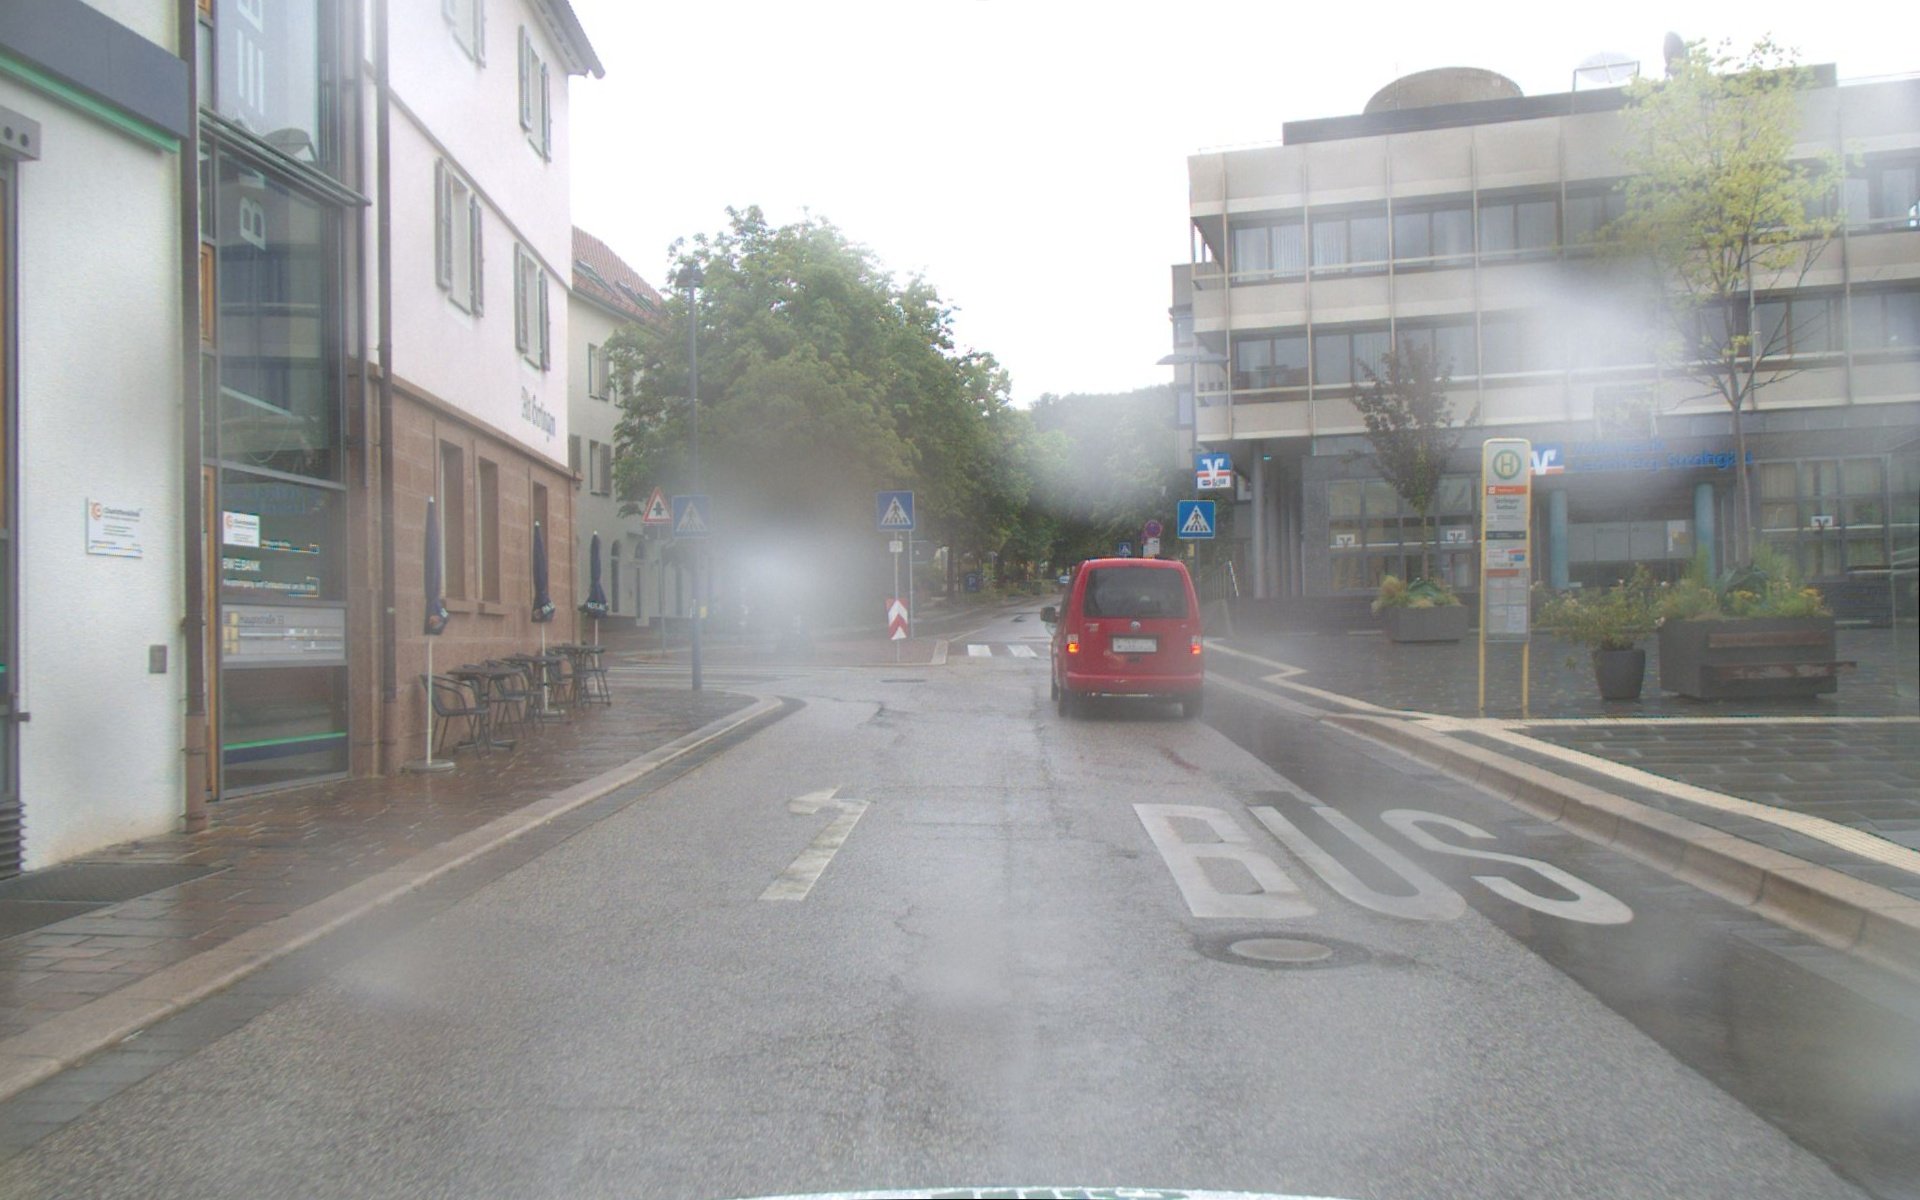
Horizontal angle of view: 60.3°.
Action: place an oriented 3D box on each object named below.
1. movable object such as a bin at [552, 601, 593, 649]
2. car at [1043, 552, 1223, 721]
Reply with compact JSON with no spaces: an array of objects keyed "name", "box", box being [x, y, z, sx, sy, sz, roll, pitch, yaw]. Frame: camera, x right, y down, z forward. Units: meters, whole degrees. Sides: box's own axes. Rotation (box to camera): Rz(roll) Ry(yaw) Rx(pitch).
[{"name":"movable object such as a bin","box":[-9.433,0.602,40.238,0.721,1.144,0.650,-2,-1,16]},{"name":"car","box":[2.055,0.423,20.773,1.824,1.862,4.185,-1,0,0]}]
